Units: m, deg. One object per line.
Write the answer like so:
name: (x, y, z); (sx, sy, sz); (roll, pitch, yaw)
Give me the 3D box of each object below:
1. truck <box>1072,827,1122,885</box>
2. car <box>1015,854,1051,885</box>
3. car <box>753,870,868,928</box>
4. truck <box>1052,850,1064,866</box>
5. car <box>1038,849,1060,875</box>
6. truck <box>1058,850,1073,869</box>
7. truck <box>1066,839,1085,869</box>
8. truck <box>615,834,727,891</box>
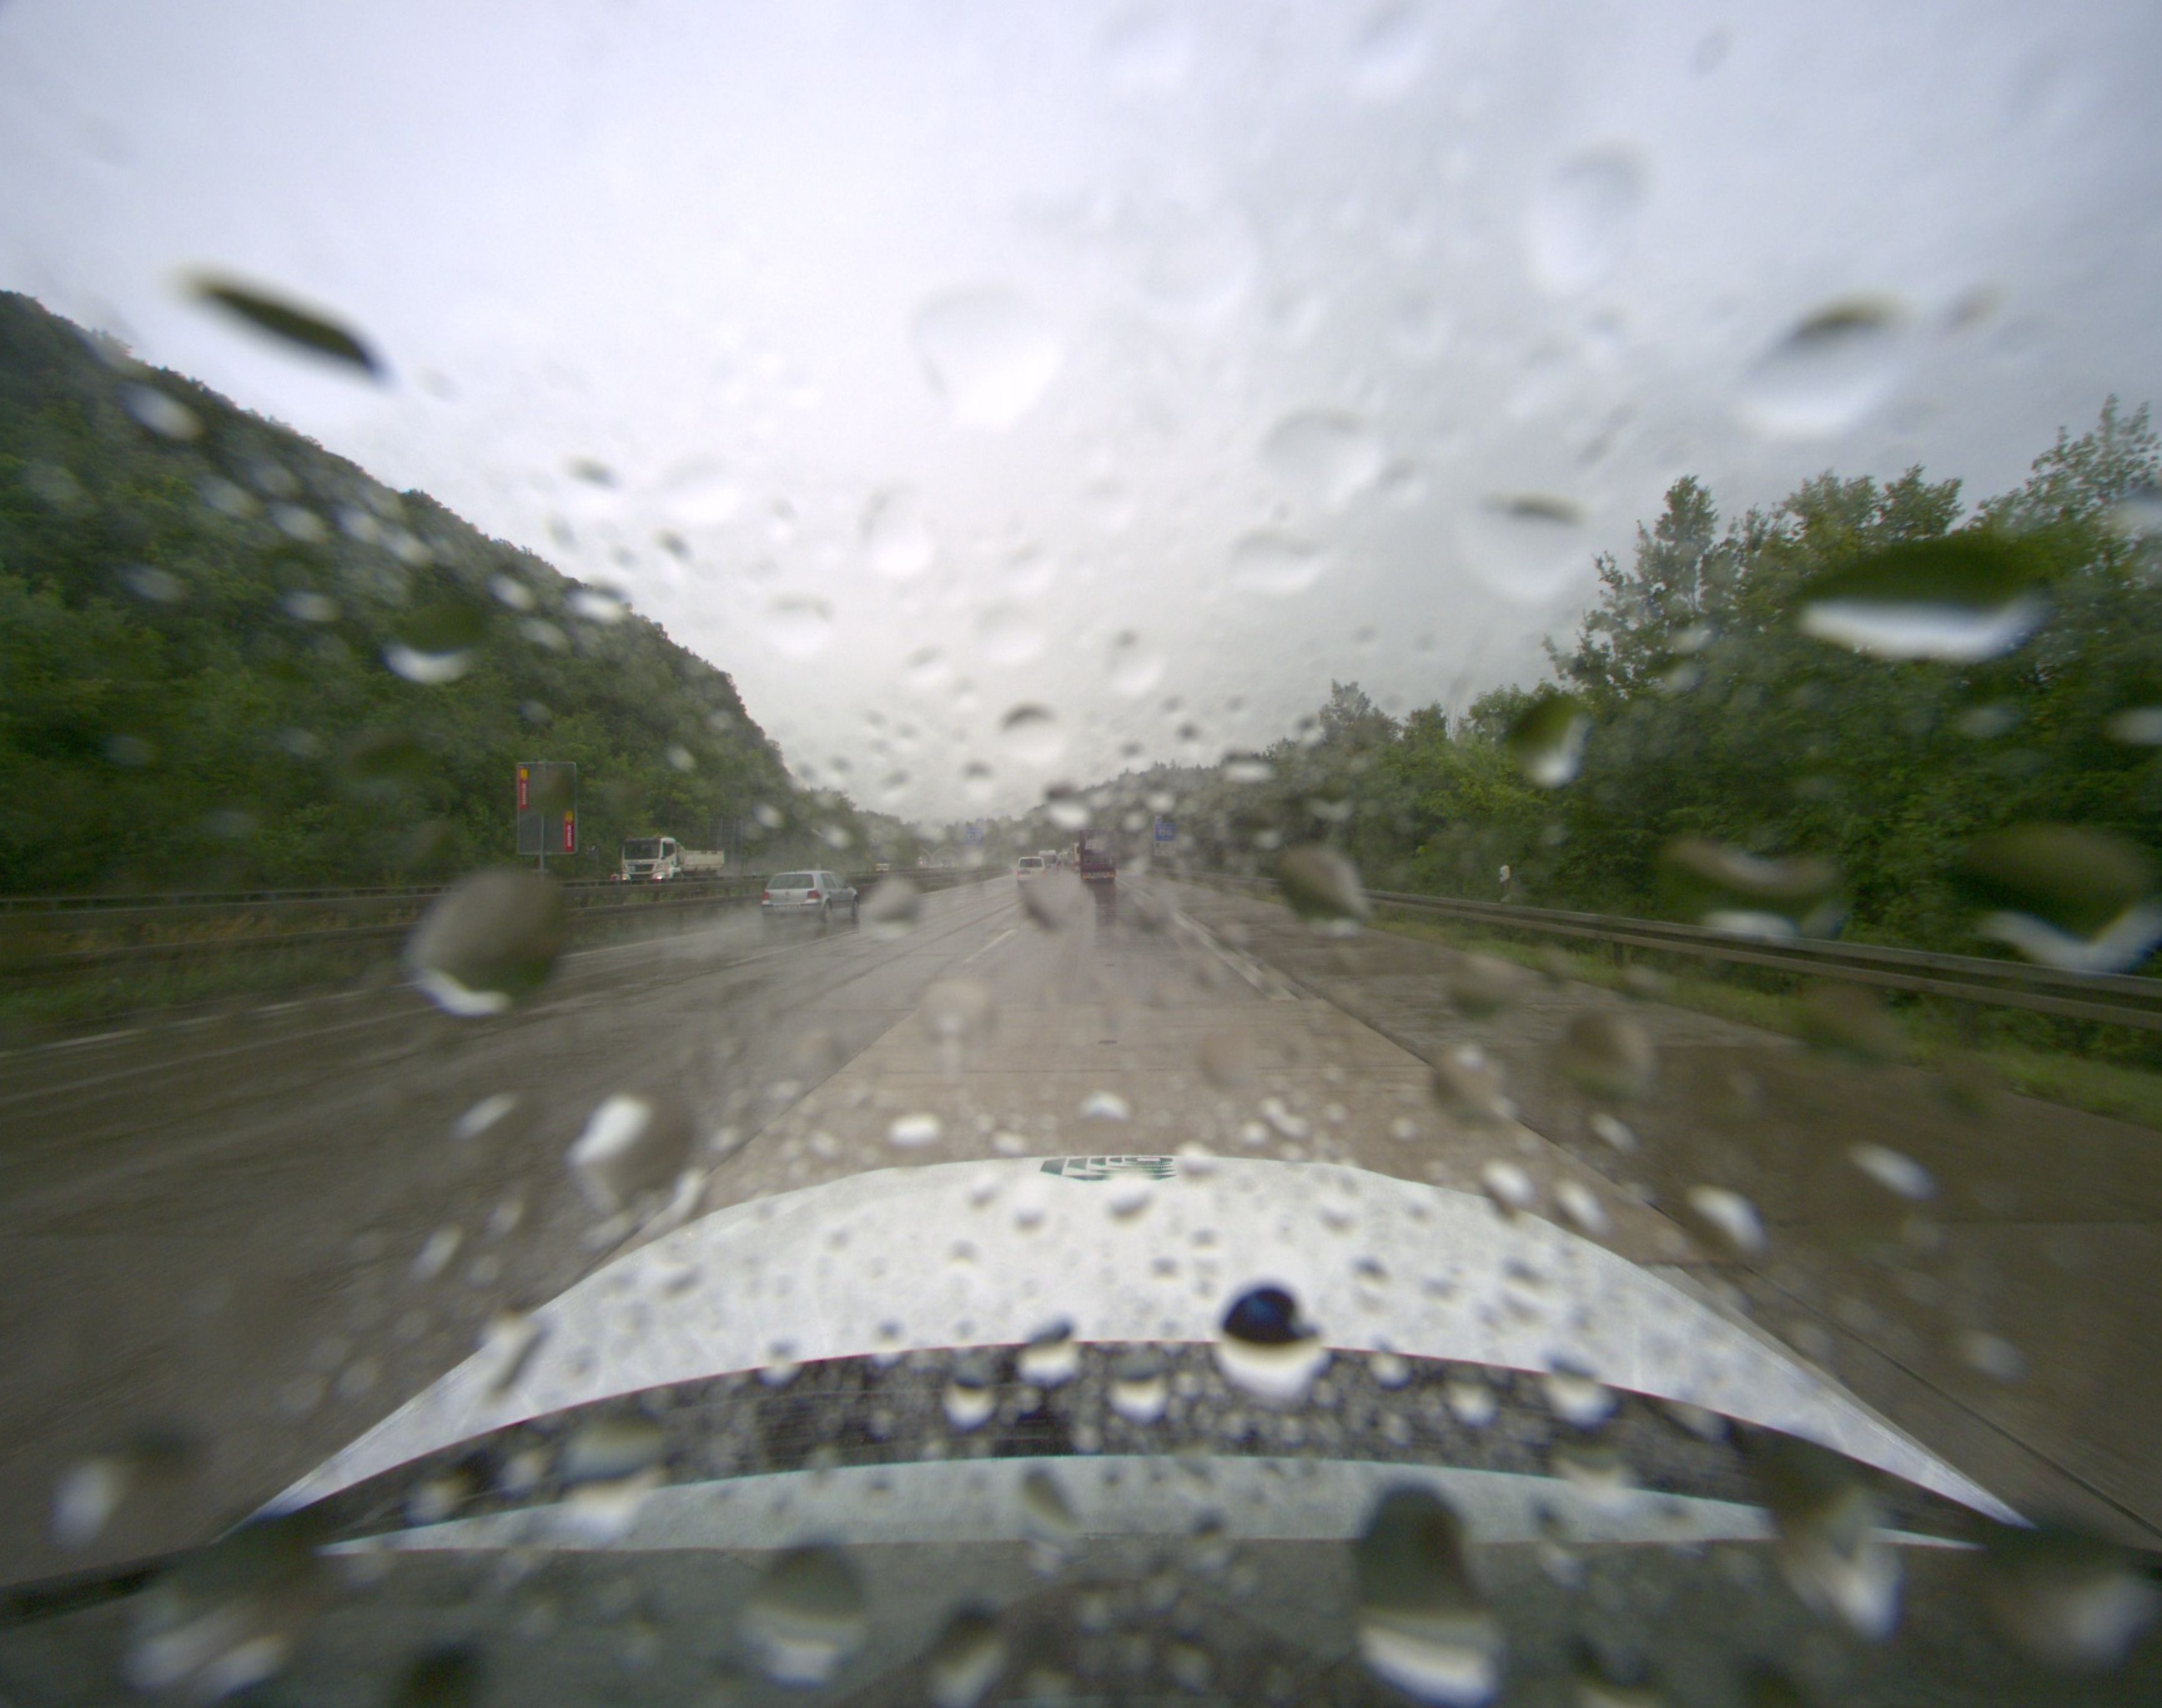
truck: (1.247, 0.026, 61.680); (3.373, 3.968, 8.670); (-2, 1, 1)
car: (-3.088, 0.971, 53.037); (1.892, 1.894, 5.045); (0, -1, 2)
car: (-7.525, 1.197, 23.117); (1.661, 1.434, 4.352); (0, -1, 2)
truck: (-4.739, 0.790, 168.984); (1.990, 3.170, 6.721); (0, 0, -5)
car: (-3.033, 0.735, 76.214); (1.895, 2.334, 5.244); (0, 0, -3)
truck: (-2.668, 0.891, 139.524); (1.990, 3.170, 6.721); (0, 0, -5)
truck: (-0.772, -0.038, 106.652); (1.990, 3.806, 6.721); (0, 0, -5)
truck: (-23.714, 0.482, 47.652); (2.288, 3.019, 7.925); (0, 0, 2)
